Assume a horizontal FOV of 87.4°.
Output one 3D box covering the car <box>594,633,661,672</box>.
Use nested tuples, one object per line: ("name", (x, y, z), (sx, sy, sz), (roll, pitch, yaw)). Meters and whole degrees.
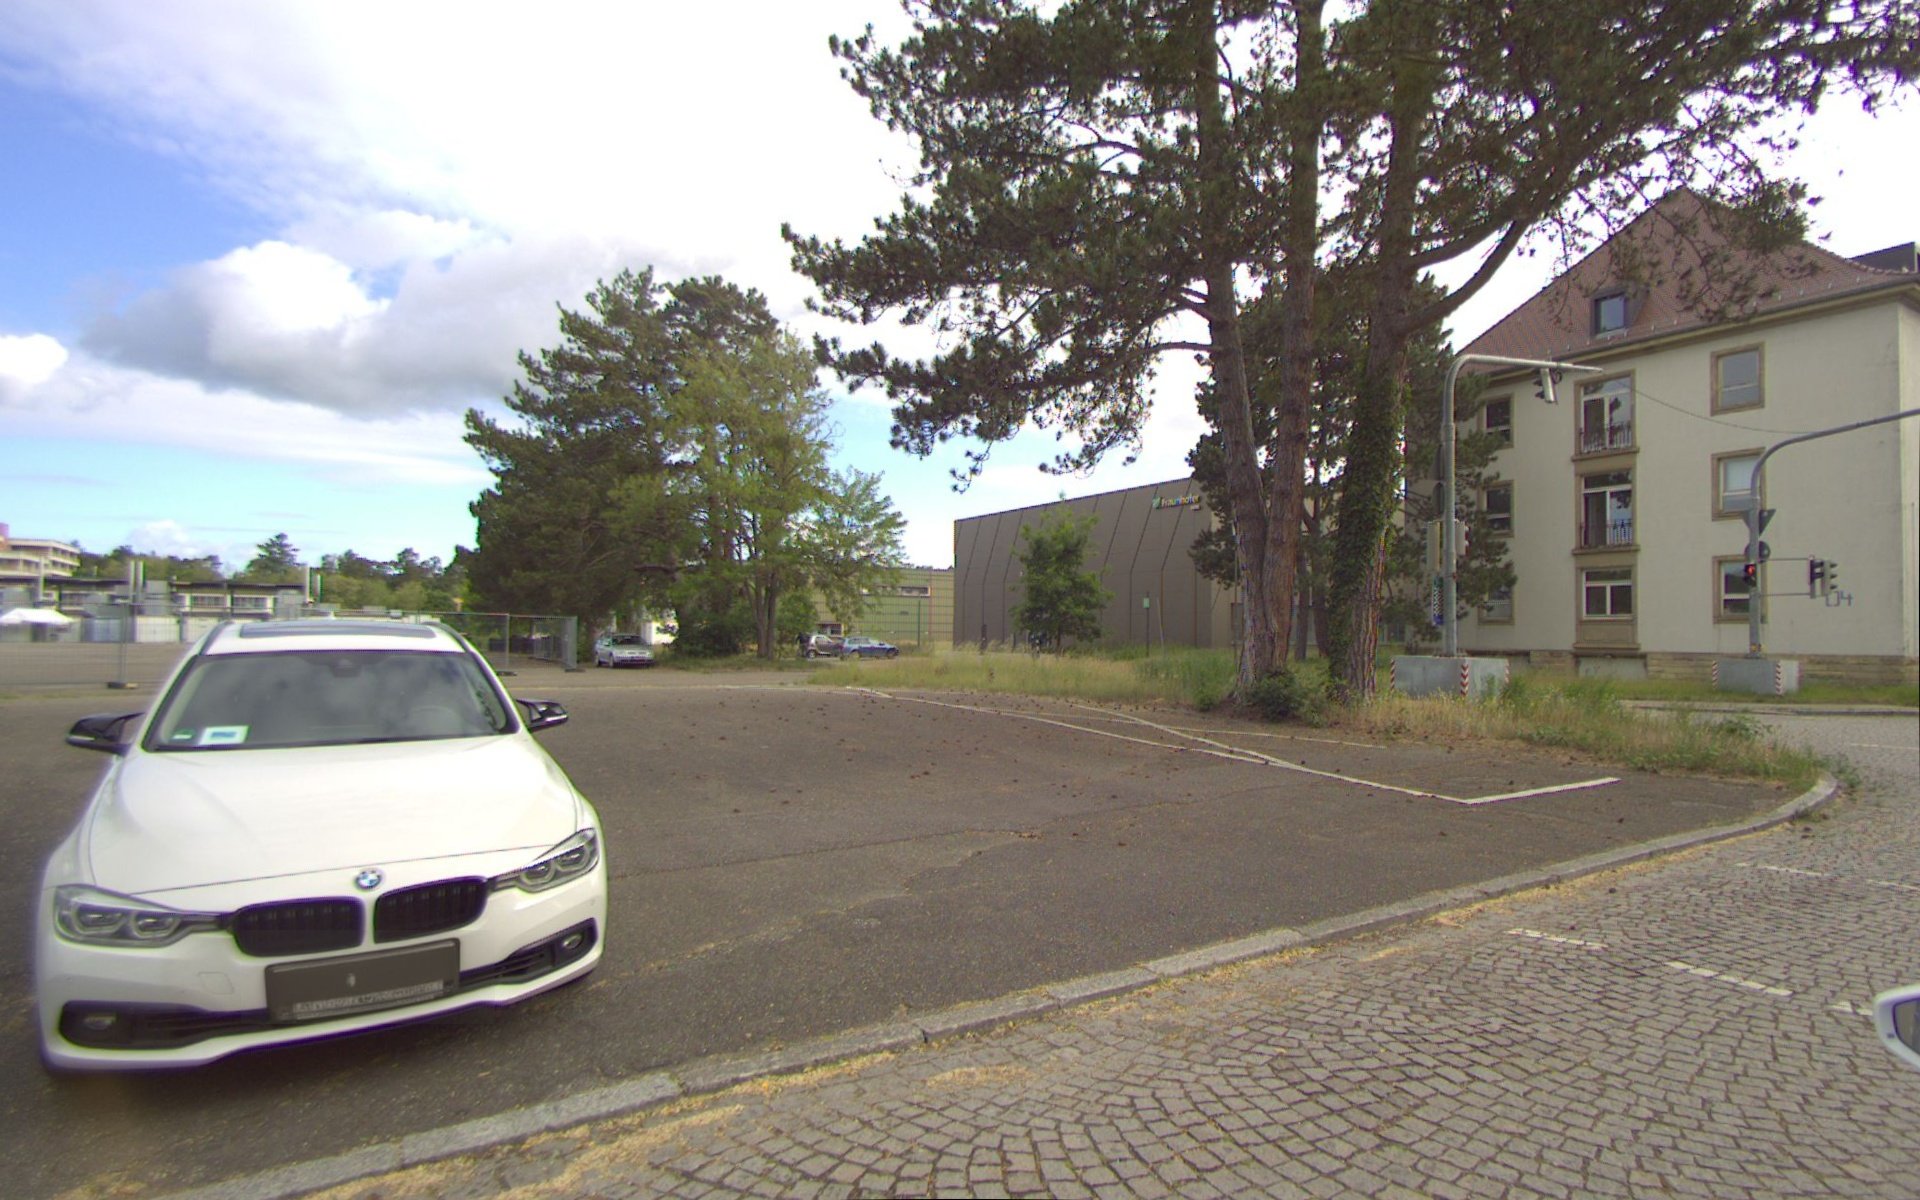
("car", (-13.993, 2.182, 42.138), (1.717, 1.451, 4.124), (2, -1, -32))

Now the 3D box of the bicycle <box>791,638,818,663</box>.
("bicycle", (-9.334, 3.036, 60.345), (0.817, 1.395, 2.024), (2, -1, -32))

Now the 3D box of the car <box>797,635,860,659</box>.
("car", (-9.312, 3.304, 71.131), (4.078, 1.593, 1.748), (0, -1, -35))

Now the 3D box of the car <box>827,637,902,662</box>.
("car", (-6.091, 3.148, 64.427), (4.449, 1.482, 1.916), (0, -1, -35))

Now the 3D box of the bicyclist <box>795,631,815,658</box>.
("bicyclist", (-9.309, 2.677, 60.316), (0.891, 1.562, 0.860), (2, -1, -33))

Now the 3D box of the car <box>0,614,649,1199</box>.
("car", (-3.193, 0.865, 5.139), (1.847, 1.508, 4.710), (1, 0, -33))
